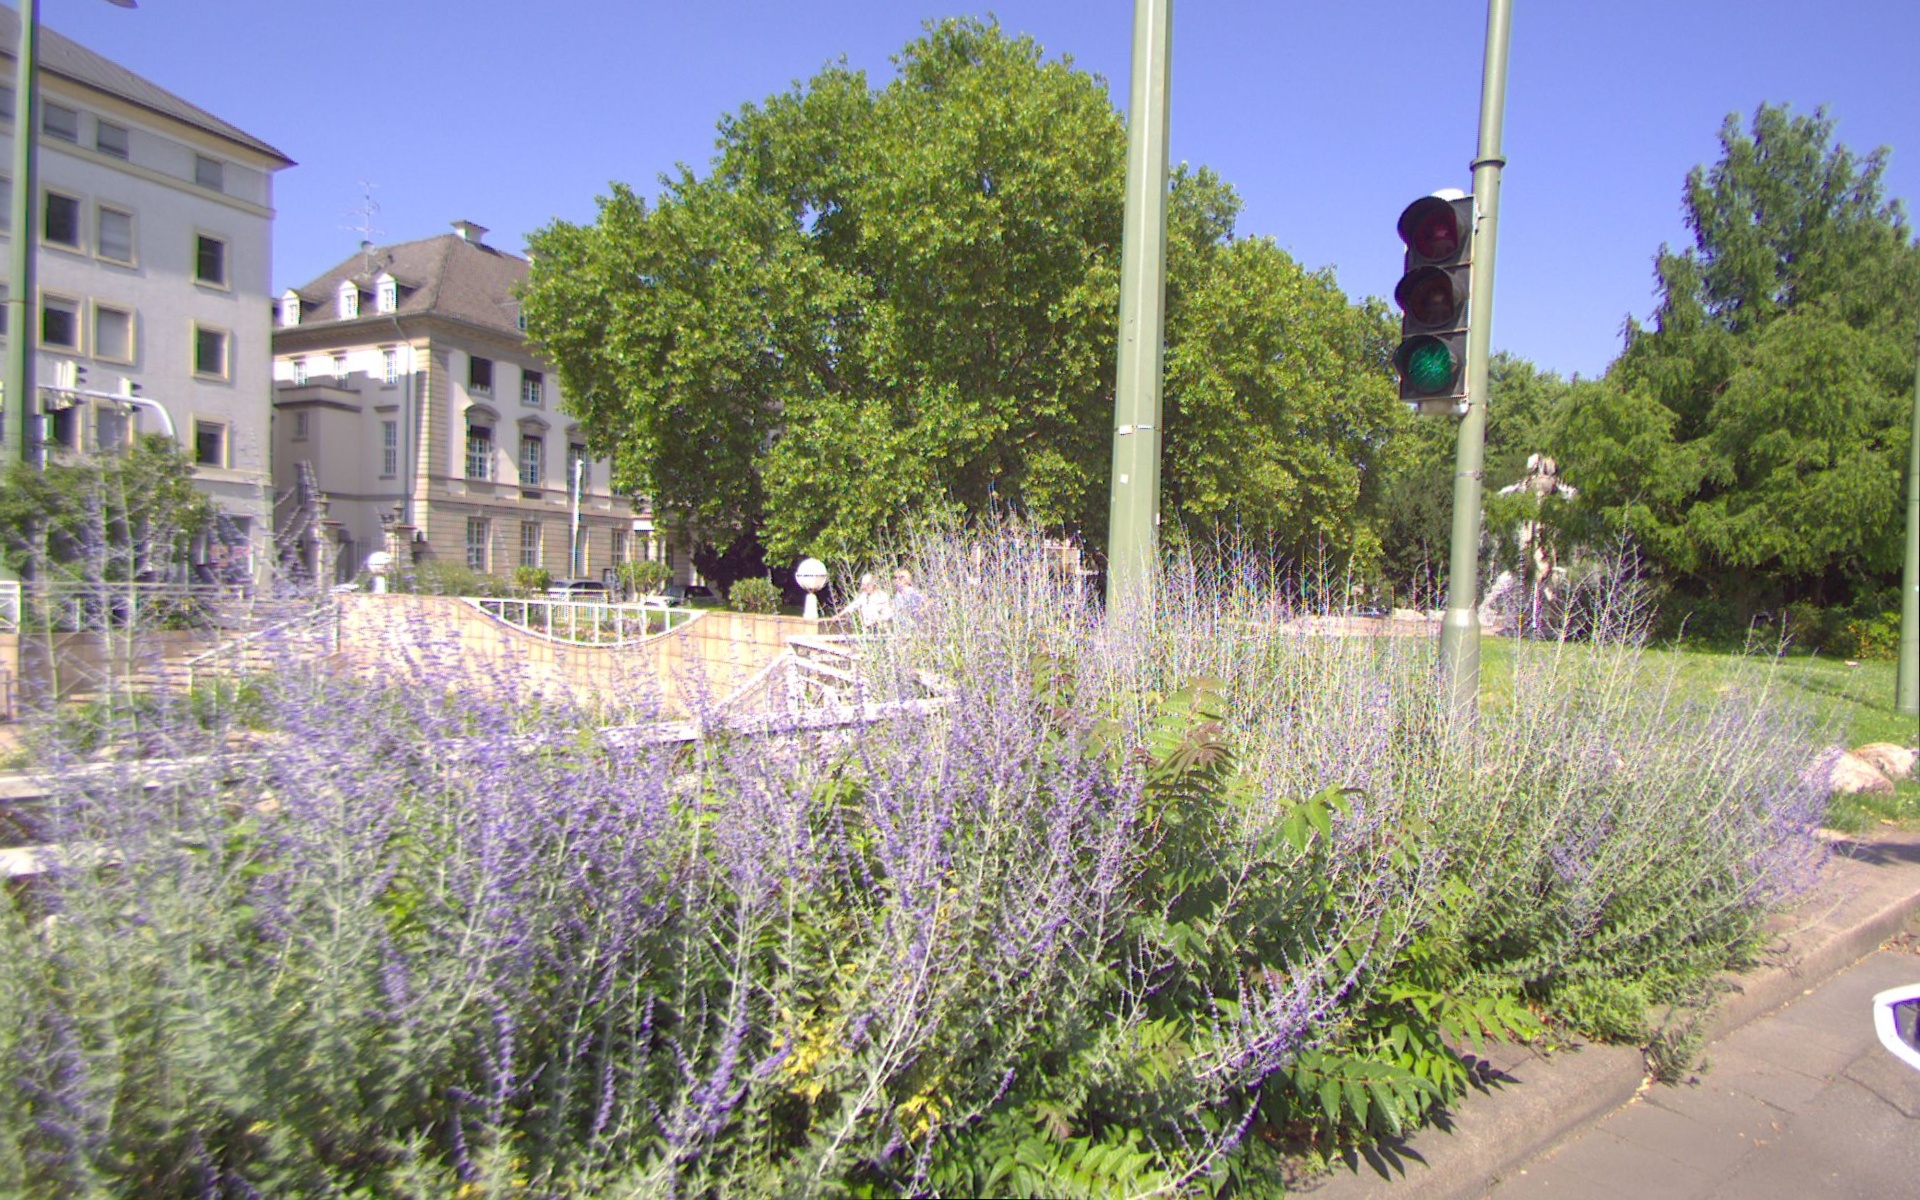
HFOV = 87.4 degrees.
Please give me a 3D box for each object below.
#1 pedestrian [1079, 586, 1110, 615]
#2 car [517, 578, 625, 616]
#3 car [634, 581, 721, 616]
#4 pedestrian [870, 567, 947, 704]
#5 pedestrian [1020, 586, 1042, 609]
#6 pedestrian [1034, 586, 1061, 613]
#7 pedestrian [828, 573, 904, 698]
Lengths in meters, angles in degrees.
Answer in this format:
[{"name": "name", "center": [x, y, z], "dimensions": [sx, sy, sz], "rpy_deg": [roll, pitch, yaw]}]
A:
[{"name": "pedestrian", "center": [5.892, 0.023, 43.981], "dimensions": [1.044, 1.242, 0.752], "rpy_deg": [1, 1, -24]}, {"name": "car", "center": [-14.221, -0.123, 36.911], "dimensions": [1.581, 1.286, 3.581], "rpy_deg": [3, 1, 25]}, {"name": "car", "center": [-11.917, -0.070, 42.550], "dimensions": [1.581, 1.397, 3.581], "rpy_deg": [3, 1, 25]}, {"name": "pedestrian", "center": [-0.631, 0.418, 12.356], "dimensions": [0.681, 1.614, 0.597], "rpy_deg": [3, 2, 38]}, {"name": "pedestrian", "center": [3.988, -0.162, 56.442], "dimensions": [1.039, 1.242, 0.755], "rpy_deg": [2, 1, -6]}, {"name": "pedestrian", "center": [4.223, -0.017, 48.386], "dimensions": [1.044, 1.242, 0.752], "rpy_deg": [1, 1, -24]}, {"name": "pedestrian", "center": [-1.212, 0.433, 12.866], "dimensions": [0.838, 1.530, 0.473], "rpy_deg": [3, 2, 38]}]
